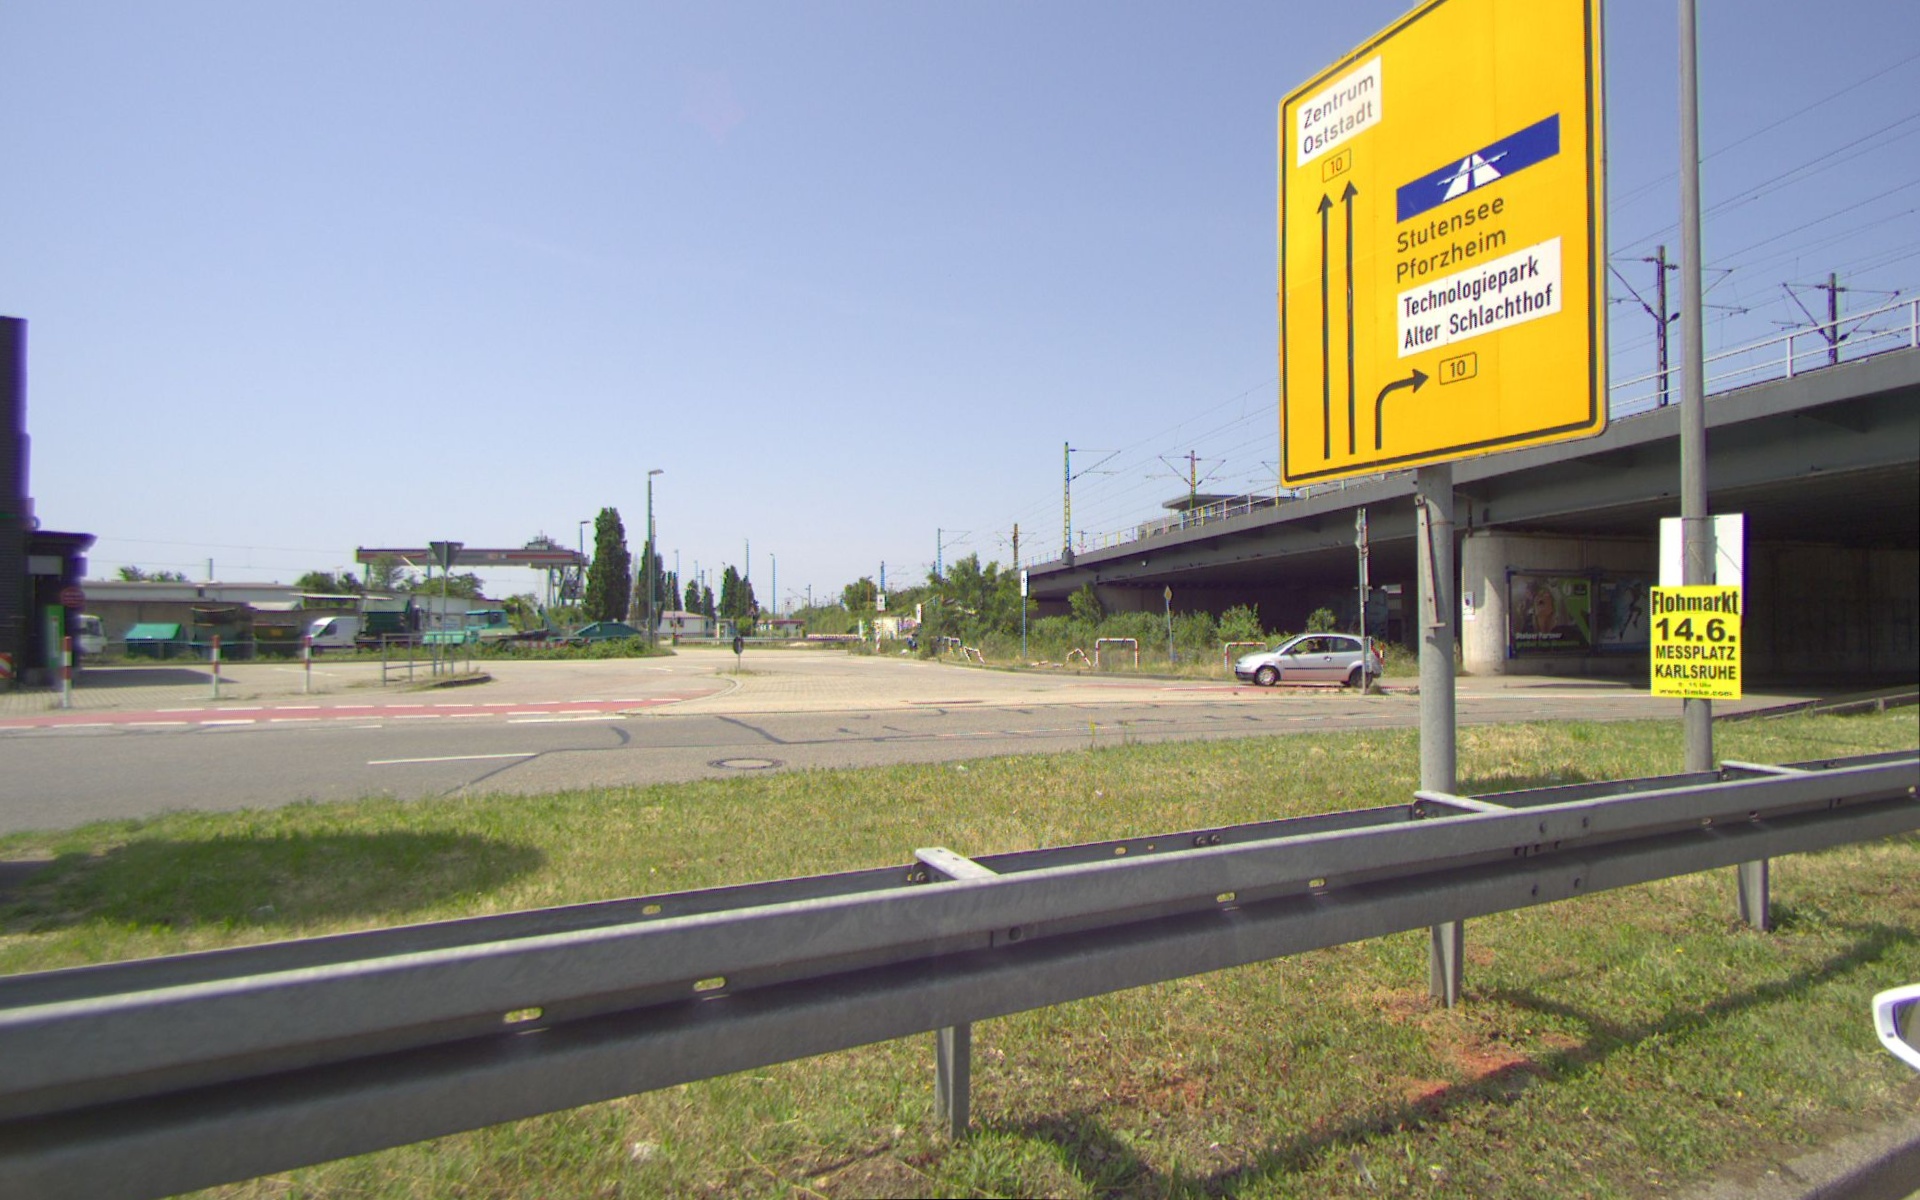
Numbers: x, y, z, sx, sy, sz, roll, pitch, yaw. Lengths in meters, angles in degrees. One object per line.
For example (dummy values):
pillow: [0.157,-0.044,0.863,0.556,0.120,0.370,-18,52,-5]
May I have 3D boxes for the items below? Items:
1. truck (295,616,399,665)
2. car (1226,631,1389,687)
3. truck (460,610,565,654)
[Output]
truck: [-39.768,2.700,65.335,1.964,2.997,5.454,-2,-4,29]
car: [9.487,1.622,27.717,3.919,1.460,2.002,0,-4,7]
truck: [-32.613,2.402,73.535,2.808,2.965,6.855,-2,-4,23]
